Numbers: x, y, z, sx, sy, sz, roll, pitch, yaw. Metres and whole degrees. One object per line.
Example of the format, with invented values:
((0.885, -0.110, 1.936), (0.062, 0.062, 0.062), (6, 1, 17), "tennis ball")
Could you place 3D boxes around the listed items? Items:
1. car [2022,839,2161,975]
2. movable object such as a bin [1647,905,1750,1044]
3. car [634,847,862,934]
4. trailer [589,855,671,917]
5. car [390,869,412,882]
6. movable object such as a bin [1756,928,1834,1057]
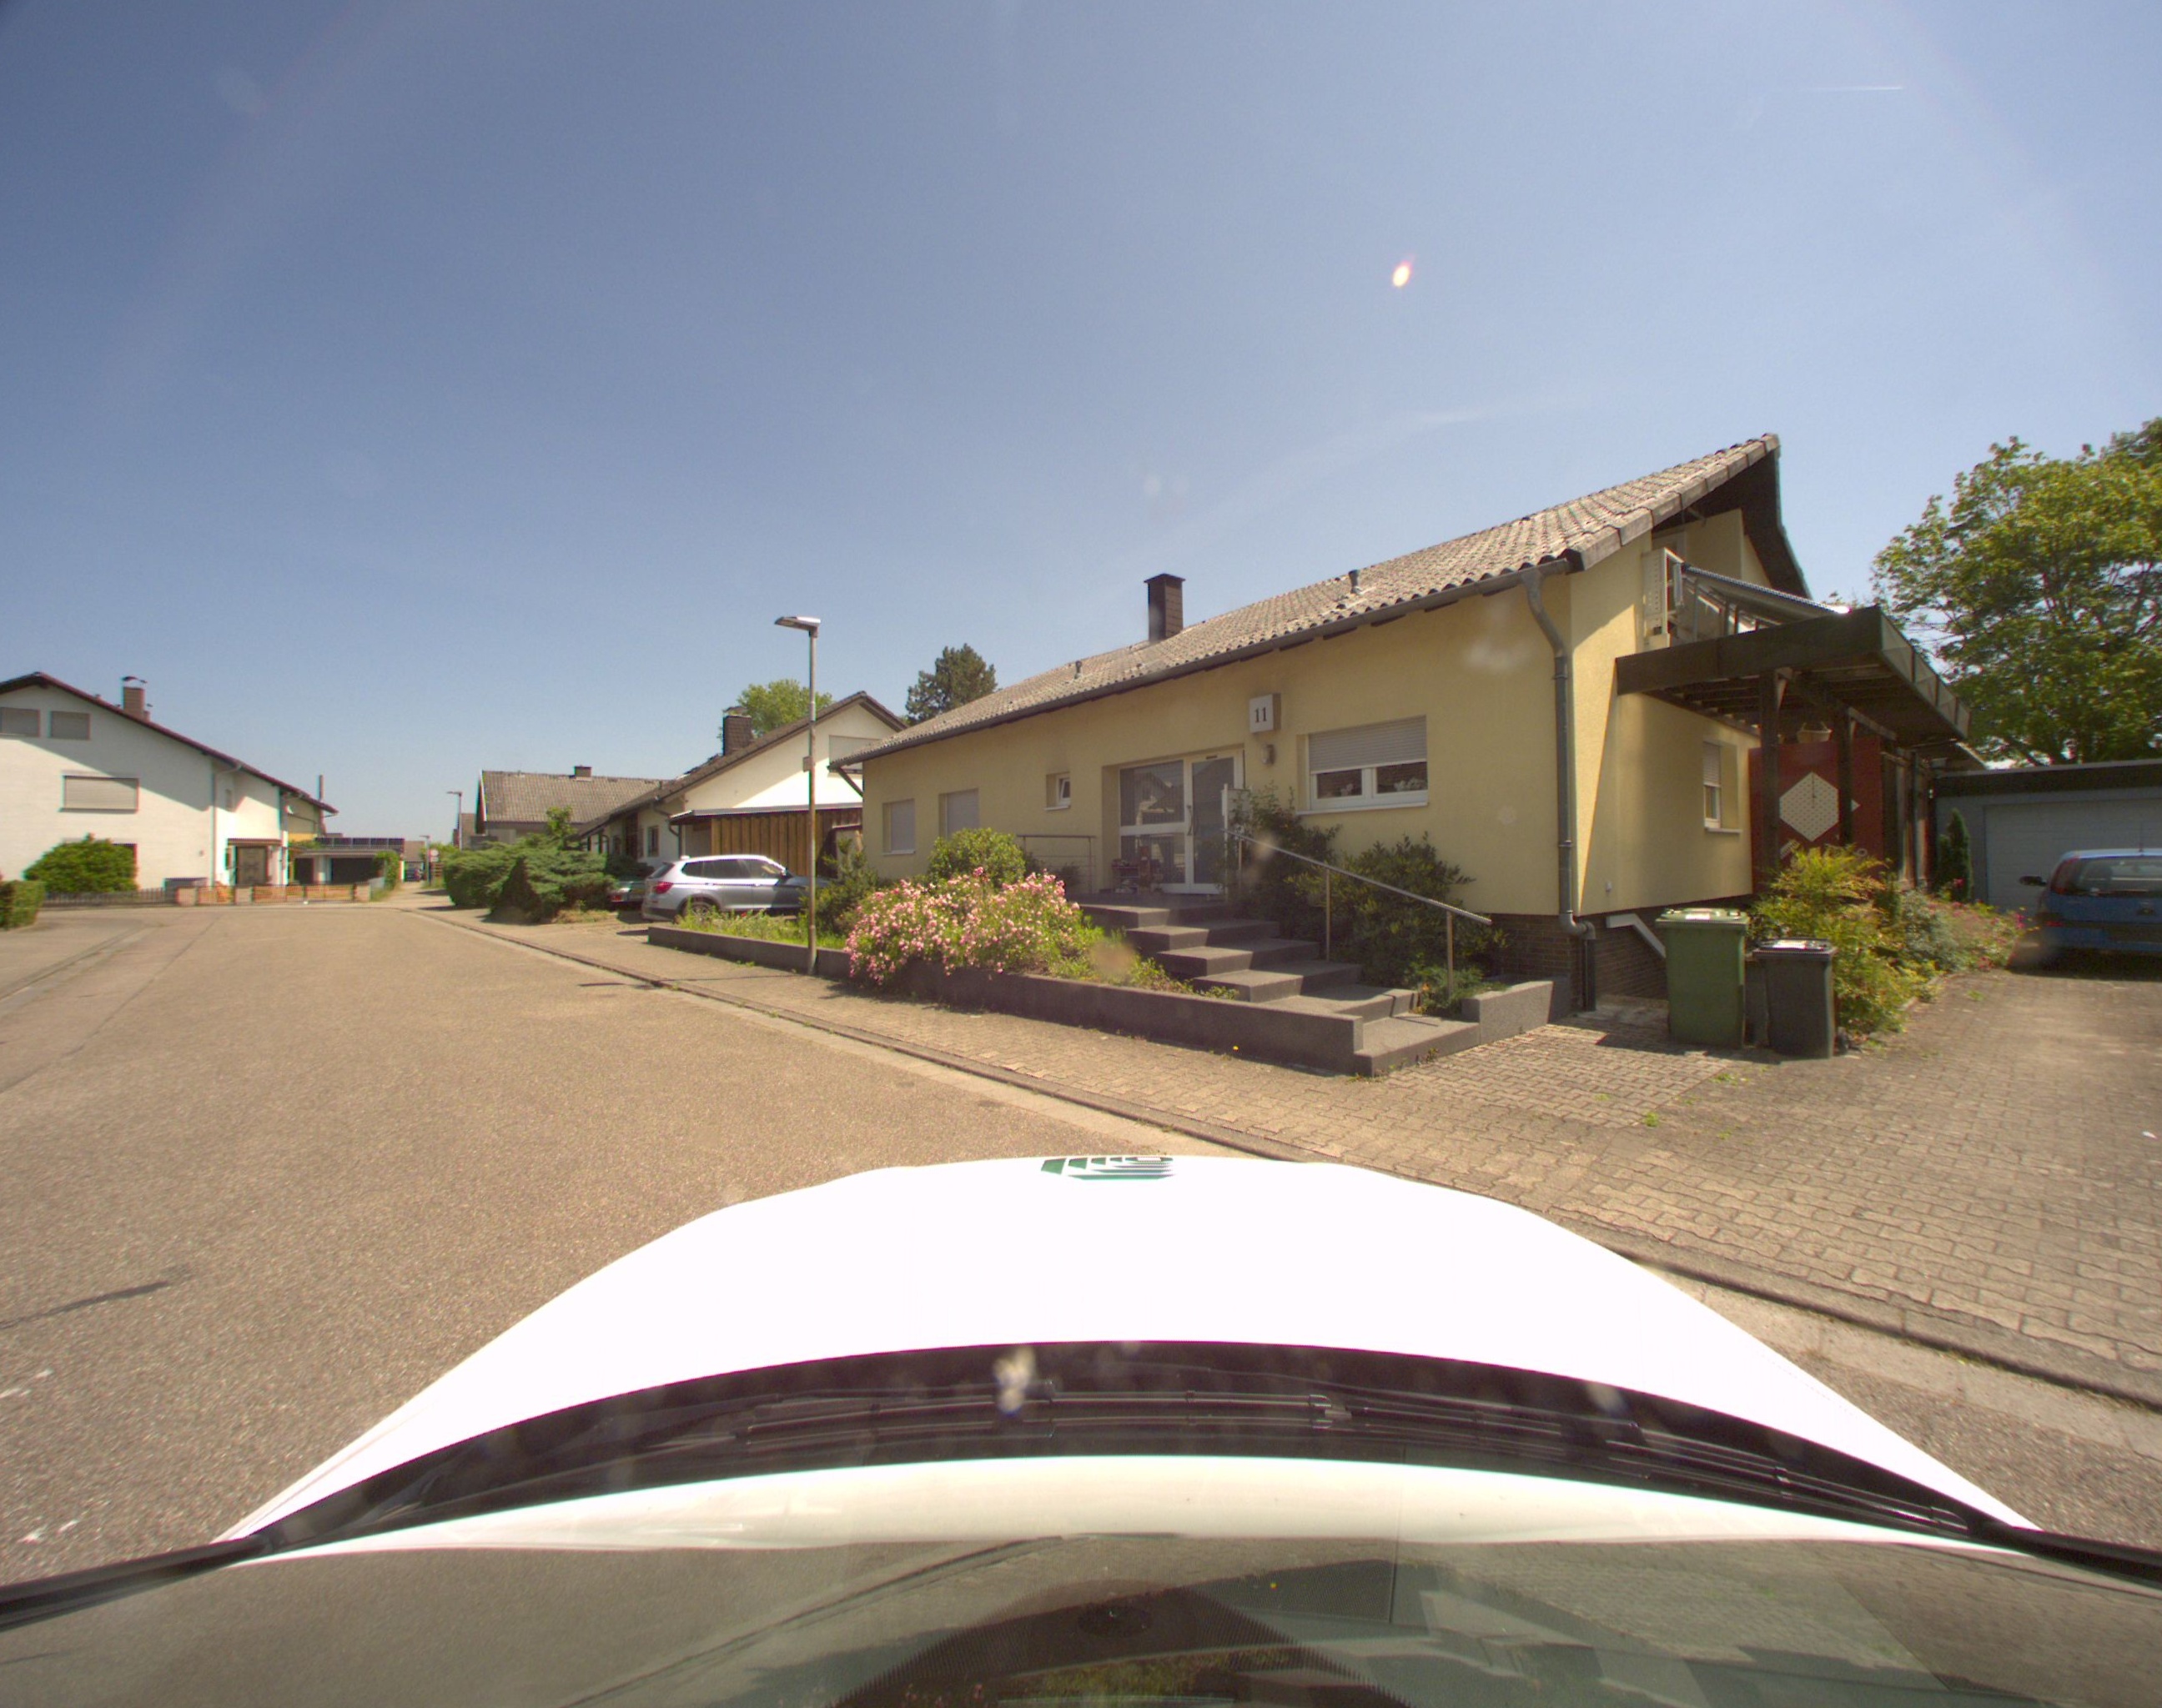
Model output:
((13.070, 0.570, 10.162), (3.270, 1.455, 1.601), (-2, 0, -39), "car")
((5.042, 0.950, 6.654), (0.585, 1.041, 0.494), (-3, -2, 44), "movable object such as a bin")
((-7.746, 0.775, 19.156), (4.663, 1.702, 1.691), (-2, 0, -36), "car")
((-13.450, 0.894, 24.222), (1.600, 1.672, 3.259), (-2, 1, -38), "trailer")
((-92.454, 2.860, 110.782), (2.211, 1.701, 3.763), (-1, -1, -38), "car")
((5.441, 1.029, 6.202), (0.402, 0.891, 0.429), (-3, -2, 43), "movable object such as a bin")
